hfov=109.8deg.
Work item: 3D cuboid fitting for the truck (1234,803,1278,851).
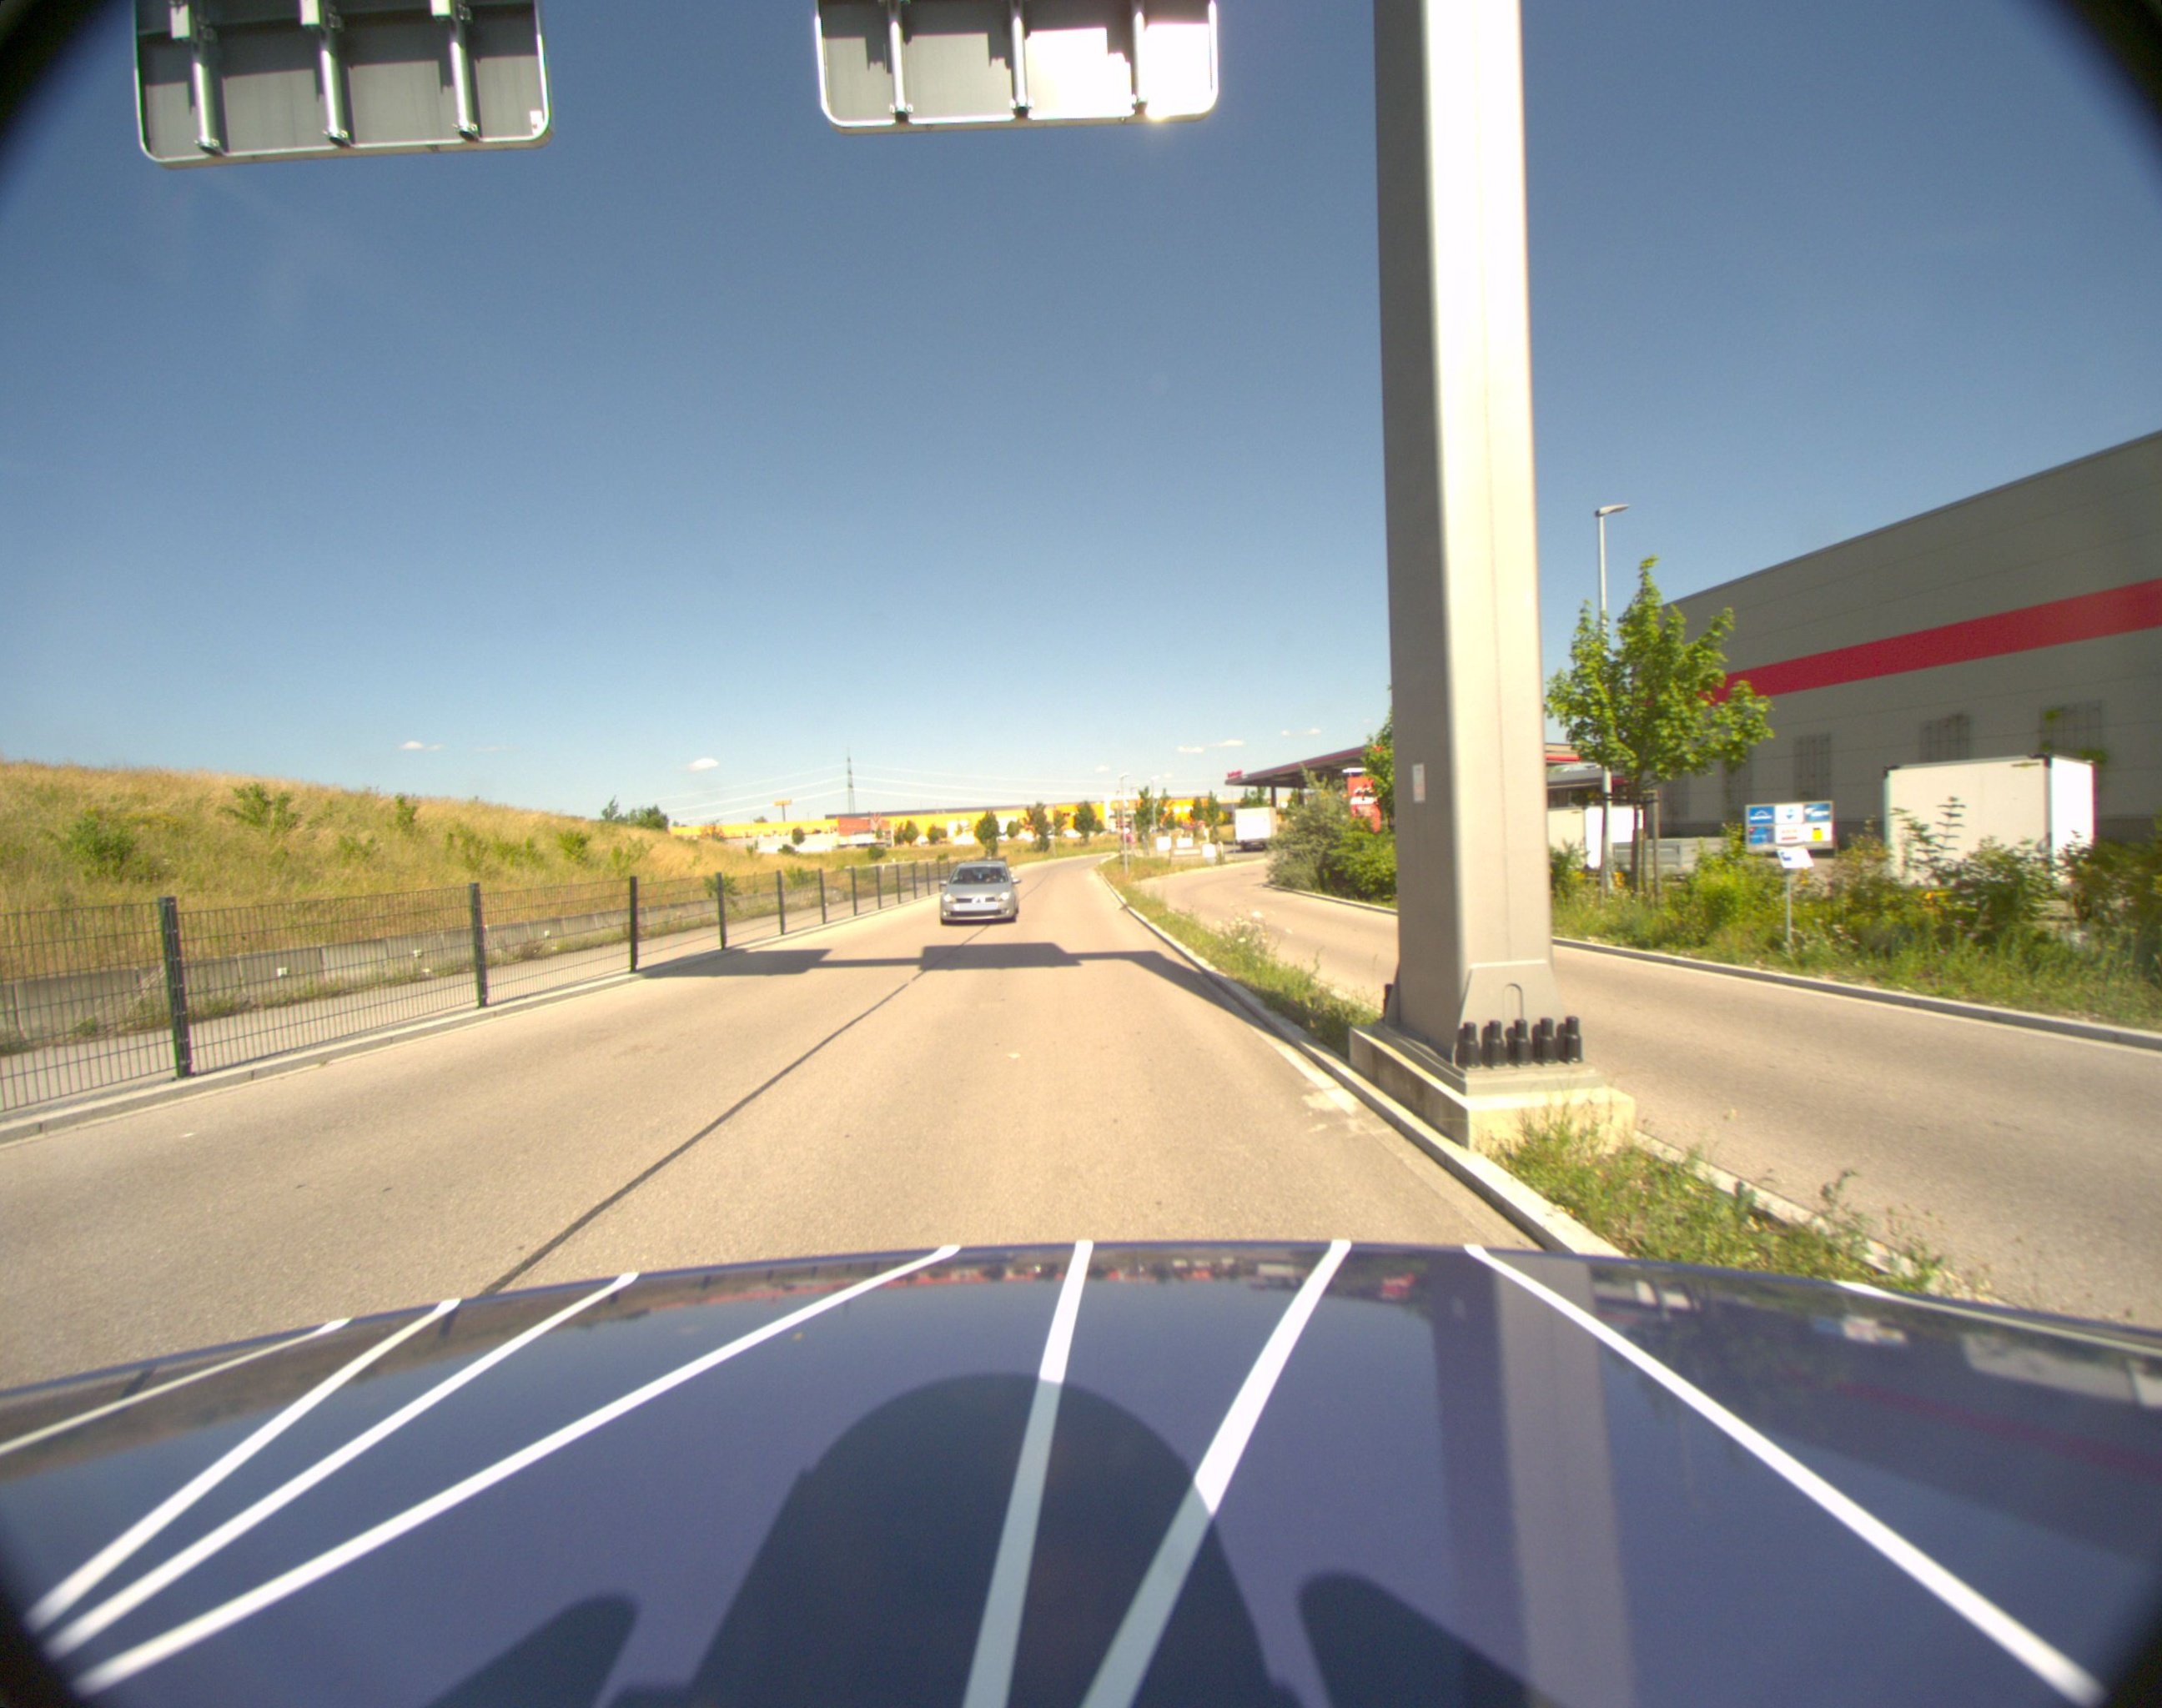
[{"bbox_3d":[13.354,-2.044,57.486,2.637,3.299,6.912,-3,1,17],"label":"truck"}]

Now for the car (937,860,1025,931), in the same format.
[{"bbox_3d":[-2.384,0.950,19.048,1.746,1.460,3.959,-1,1,-1],"label":"car"}]

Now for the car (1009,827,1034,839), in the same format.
[{"bbox_3d":[-11.372,-4.060,144.398,4.635,2.002,1.999,-4,2,-6],"label":"car"}]

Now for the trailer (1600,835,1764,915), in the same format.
[{"bbox_3d":[13.811,0.434,17.442,3.604,1.502,1.597,-4,1,-28],"label":"trailer"}]

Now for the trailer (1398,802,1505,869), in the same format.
[{"bbox_3d":[12.396,-0.615,25.349,3.212,2.002,1.995,-5,2,-40],"label":"trailer"}]

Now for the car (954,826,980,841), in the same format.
[{"bbox_3d":[-21.606,-3.788,143.881,4.635,2.534,1.999,-4,2,-6],"label":"car"}]

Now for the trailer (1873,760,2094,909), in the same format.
[{"bbox_3d":[14.001,-0.347,11.765,3.244,2.002,1.744,-4,2,-32],"label":"trailer"}]

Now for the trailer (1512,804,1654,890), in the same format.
[{"bbox_3d":[13.202,-0.196,20.015,2.740,2.002,1.996,-4,2,-28],"label":"trailer"}]

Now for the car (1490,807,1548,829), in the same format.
[{"bbox_3d":[35.916,-2.935,62.321,3.682,1.565,1.696,-3,2,5],"label":"car"}]
